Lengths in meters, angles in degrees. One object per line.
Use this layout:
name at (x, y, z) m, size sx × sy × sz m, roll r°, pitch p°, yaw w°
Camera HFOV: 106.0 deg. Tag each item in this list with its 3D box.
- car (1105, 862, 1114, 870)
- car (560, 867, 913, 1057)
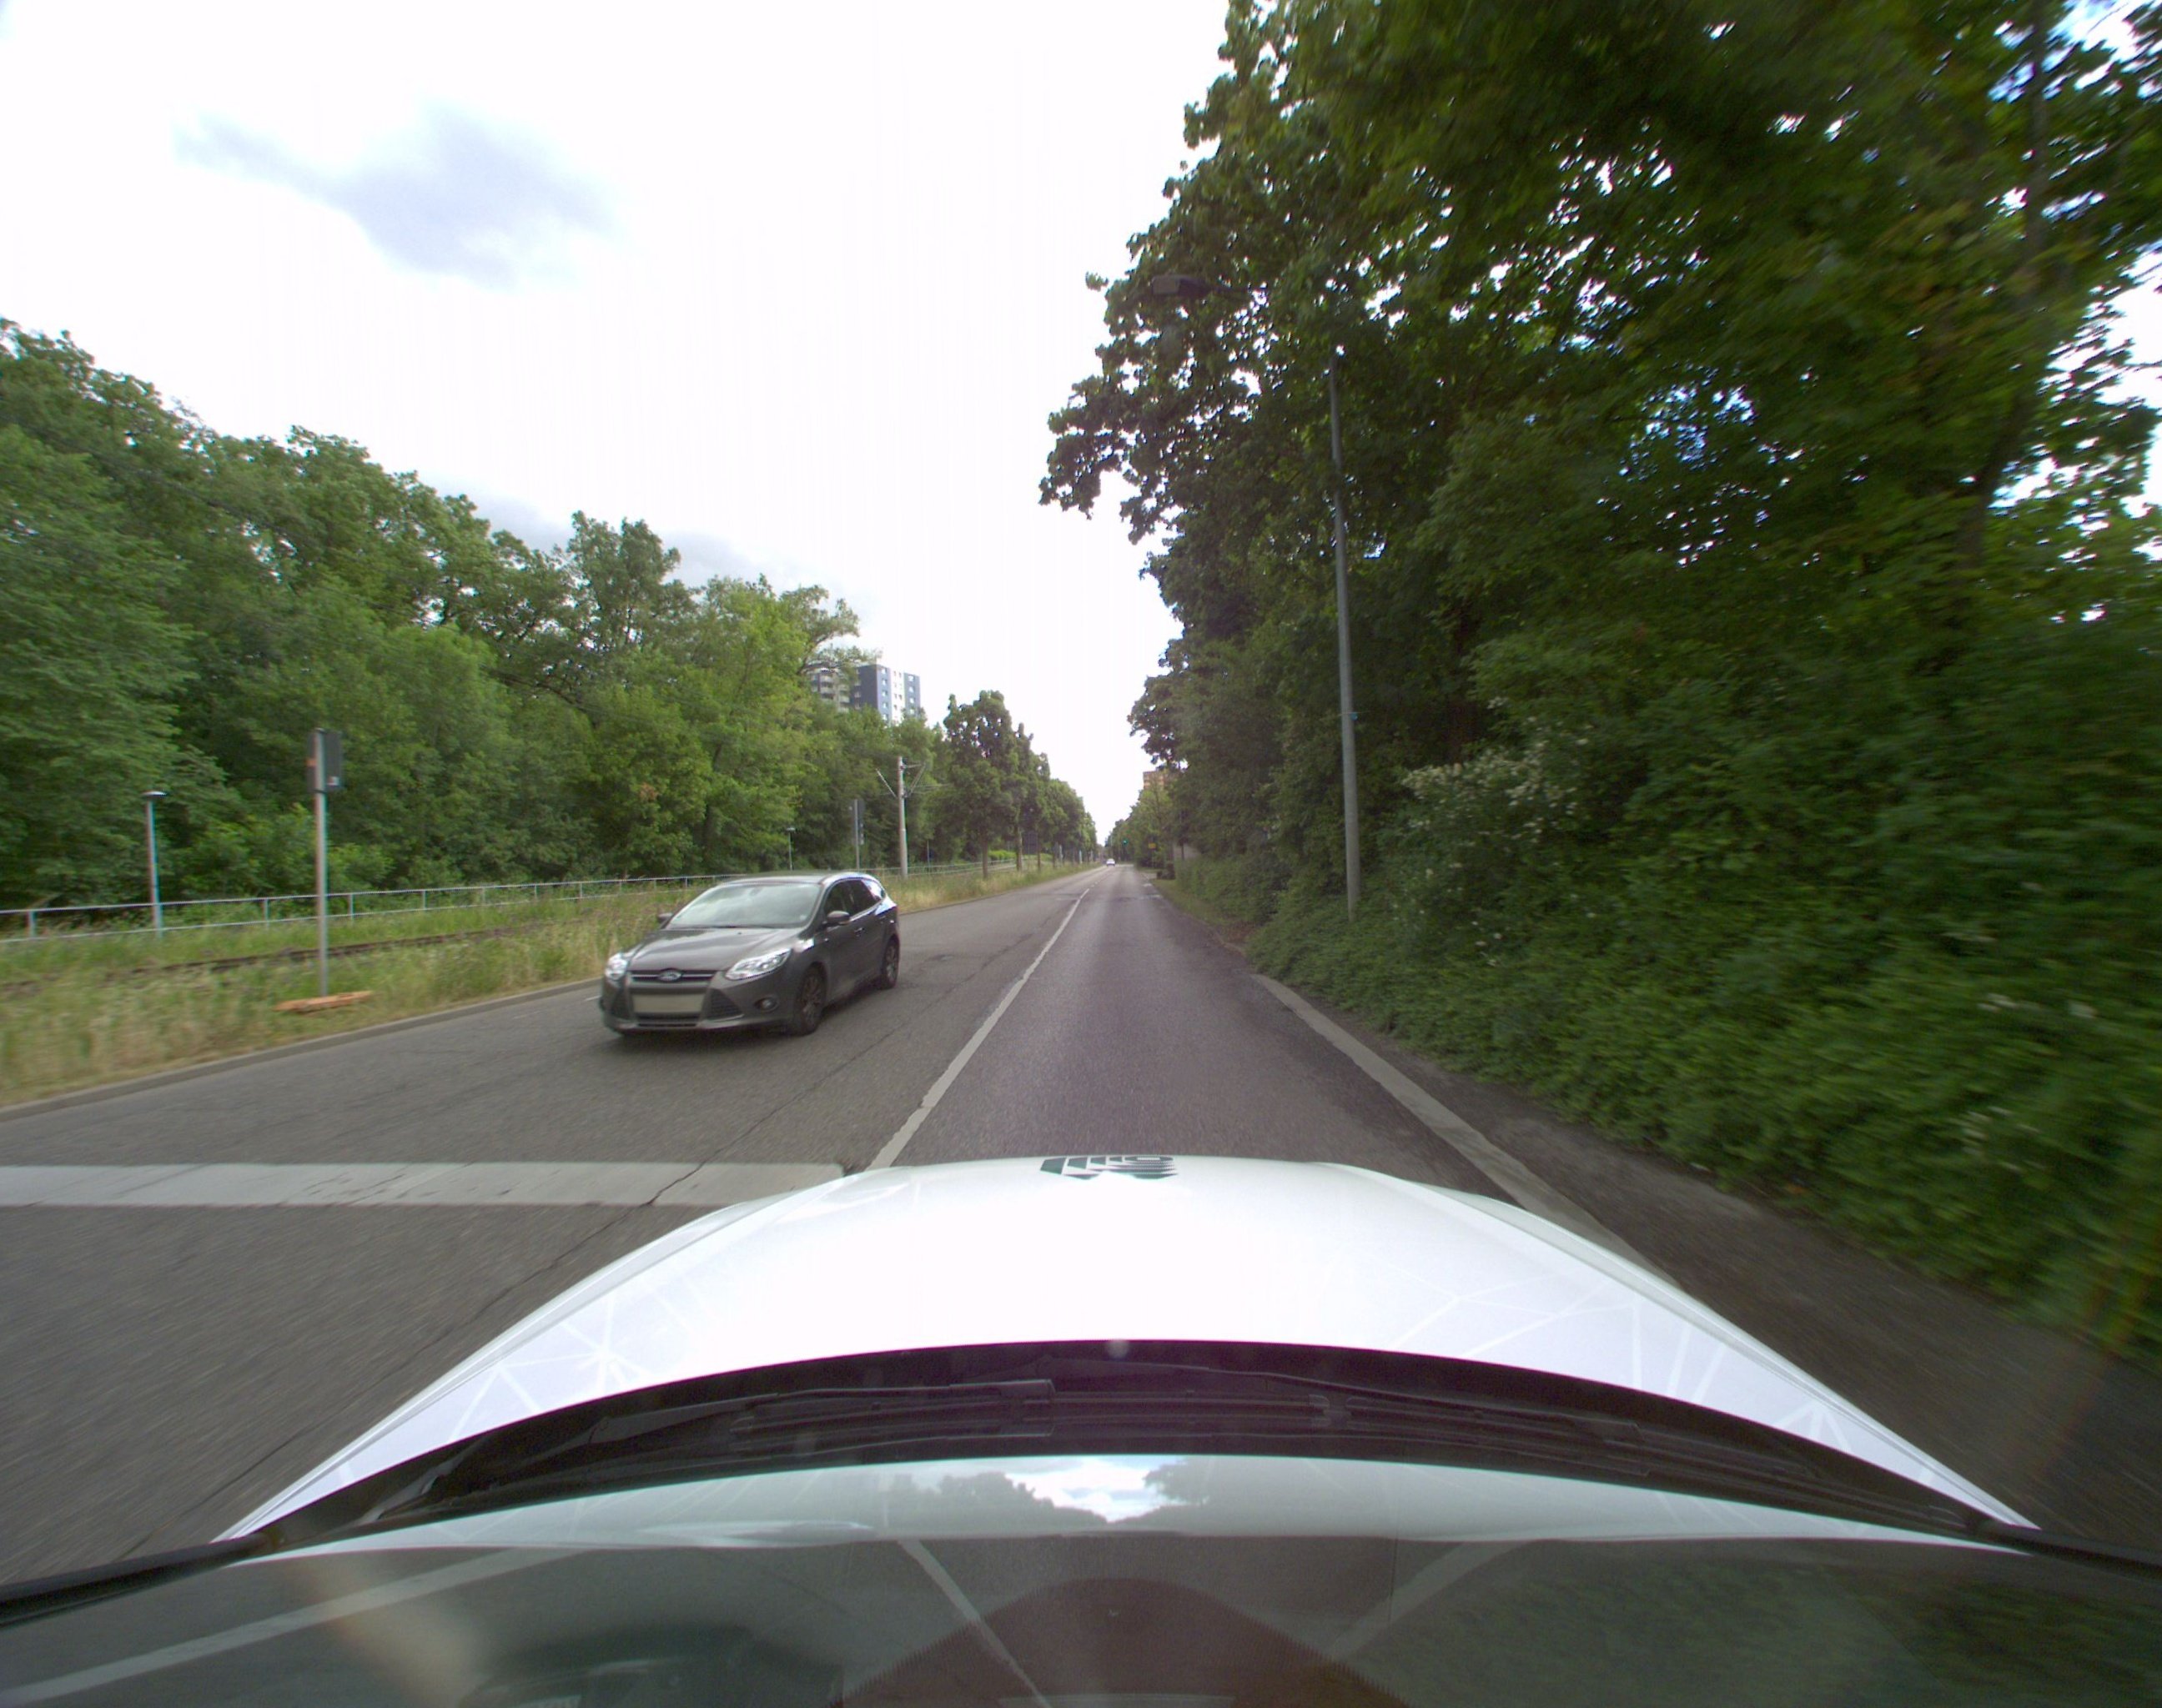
car at (6.220, 2.512, 177.762) m, size 1.709 × 1.629 × 4.003 m, roll -3°, pitch 0°, yaw 3°
car at (-3.223, 0.903, 8.739) m, size 1.749 × 1.434 × 4.430 m, roll -2°, pitch -1°, yaw 2°
